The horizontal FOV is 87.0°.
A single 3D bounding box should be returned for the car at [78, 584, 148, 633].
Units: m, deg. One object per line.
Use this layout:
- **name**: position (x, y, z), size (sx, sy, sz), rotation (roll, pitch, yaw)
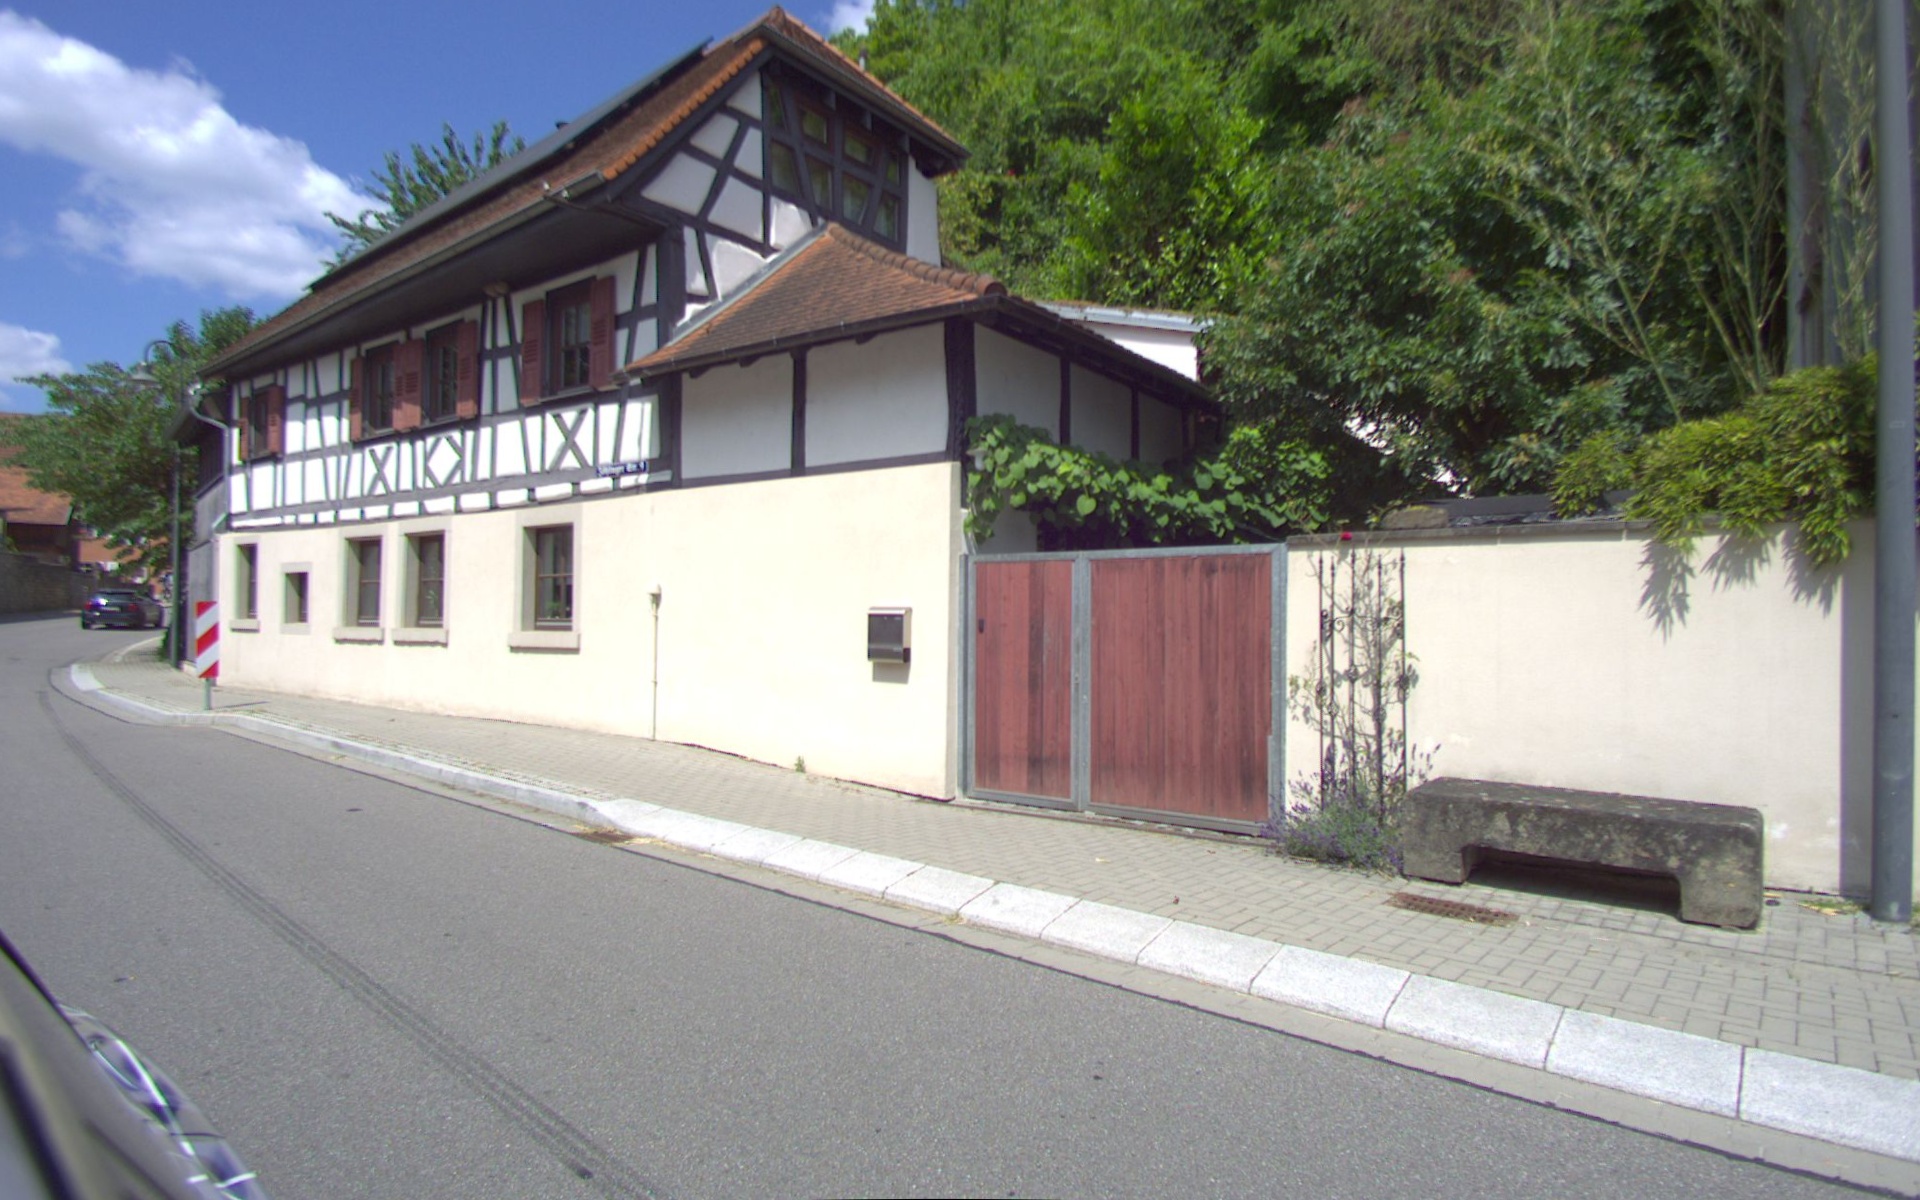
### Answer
- **car**: position (-30.484, 0.277, 36.516), size (1.677, 1.476, 4.445), rotation (3, 0, -38)
